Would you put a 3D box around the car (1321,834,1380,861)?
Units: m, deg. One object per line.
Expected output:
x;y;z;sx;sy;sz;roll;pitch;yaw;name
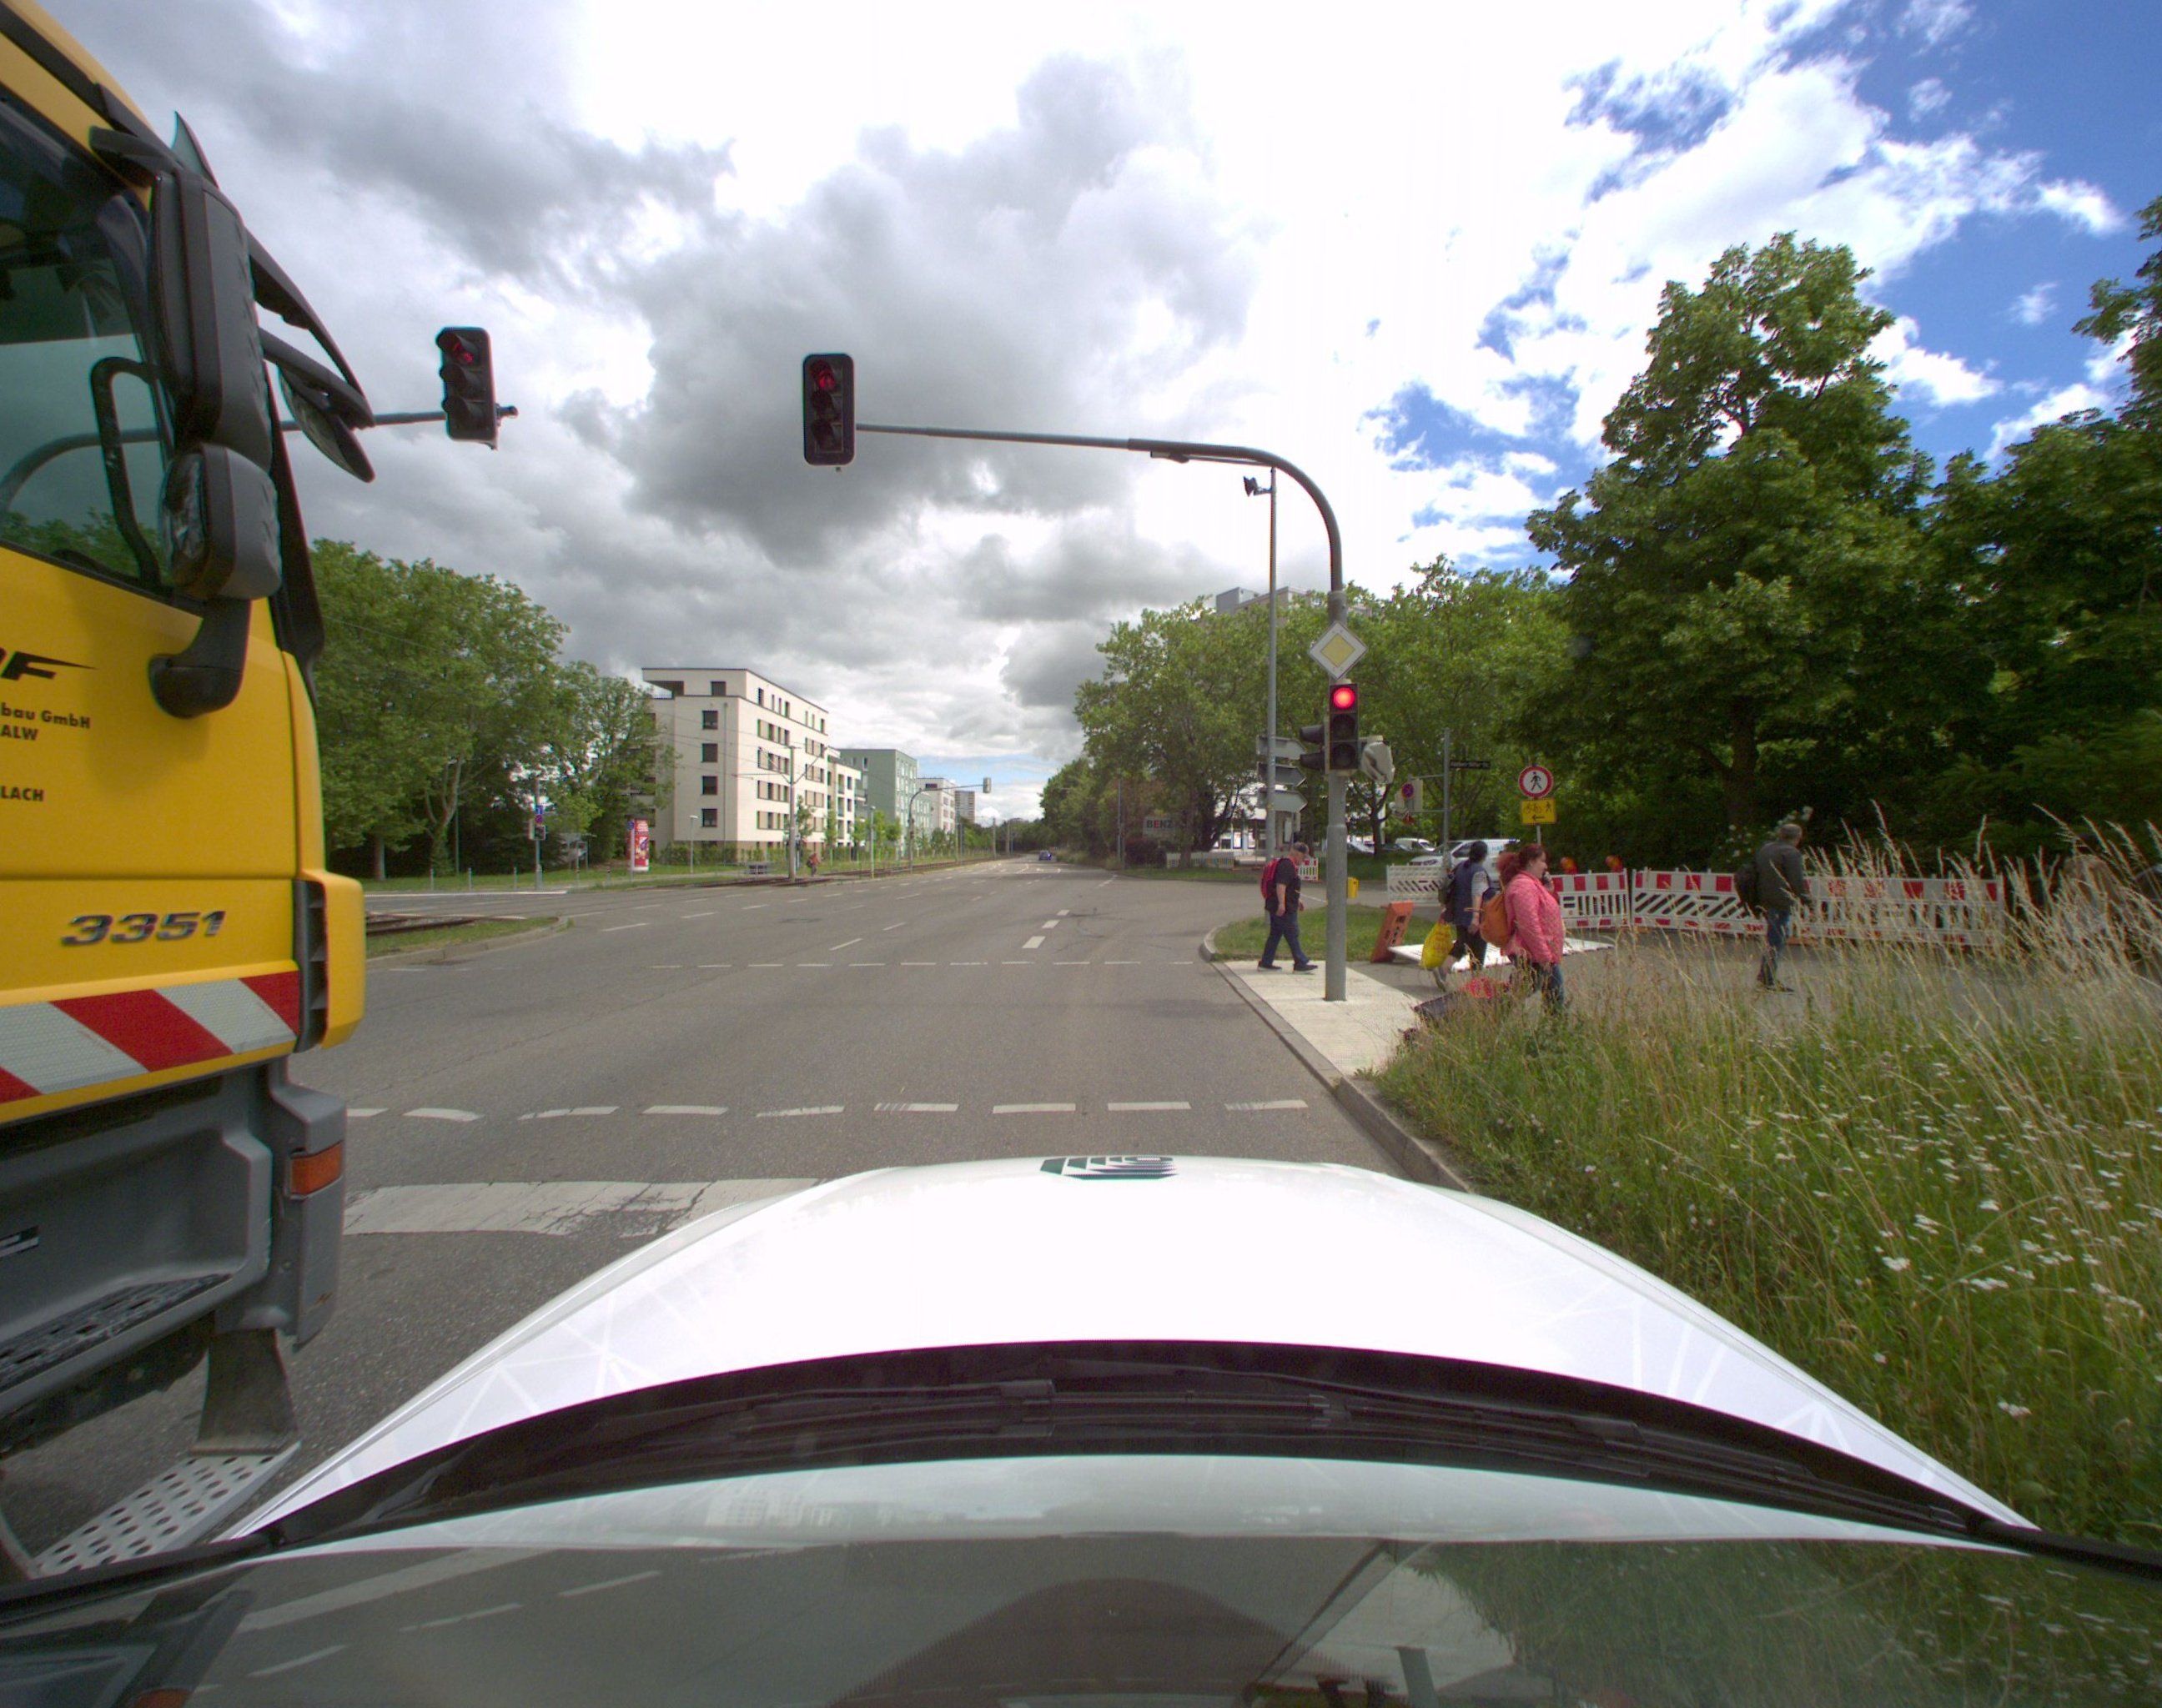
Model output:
20.571;-0.485;62.253;2.006;2.013;3.962;-1;0;-29;car

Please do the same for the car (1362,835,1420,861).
24.603;-0.492;64.733;2.006;2.013;3.962;-1;0;-29;car

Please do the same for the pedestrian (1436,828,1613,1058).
3.162;0.601;5.886;0.877;1.554;0.747;-1;0;2;pedestrian

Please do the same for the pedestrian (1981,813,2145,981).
10.676;0.449;8.892;0.778;1.742;0.829;-1;0;5;pedestrian

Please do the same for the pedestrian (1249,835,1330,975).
2.535;0.578;9.856;0.886;1.596;0.912;-1;0;16;pedestrian

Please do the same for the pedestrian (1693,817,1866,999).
7.214;0.530;8.468;0.998;1.773;0.930;-1;0;2;pedestrian

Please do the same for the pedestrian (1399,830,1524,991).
3.991;0.568;8.620;0.908;1.607;0.930;-1;0;3;pedestrian

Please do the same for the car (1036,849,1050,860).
-5.599;0.059;120.341;1.978;1.486;4.485;-1;0;-4;car

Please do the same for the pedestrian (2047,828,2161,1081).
7.519;0.651;5.492;0.955;1.648;0.881;-1;0;2;pedestrian

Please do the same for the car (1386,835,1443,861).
27.318;-0.496;66.866;2.006;2.013;3.962;-1;0;-29;car

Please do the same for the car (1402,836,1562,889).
14.912;0.305;30.460;5.063;1.874;1.947;-1;0;-2;car

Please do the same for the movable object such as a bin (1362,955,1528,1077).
2.423;1.069;5.513;0.792;0.662;0.778;-1;0;2;movable object such as a bin

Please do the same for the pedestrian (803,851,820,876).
-16.877;0.586;51.059;0.827;1.516;0.636;-1;0;1;pedestrian
